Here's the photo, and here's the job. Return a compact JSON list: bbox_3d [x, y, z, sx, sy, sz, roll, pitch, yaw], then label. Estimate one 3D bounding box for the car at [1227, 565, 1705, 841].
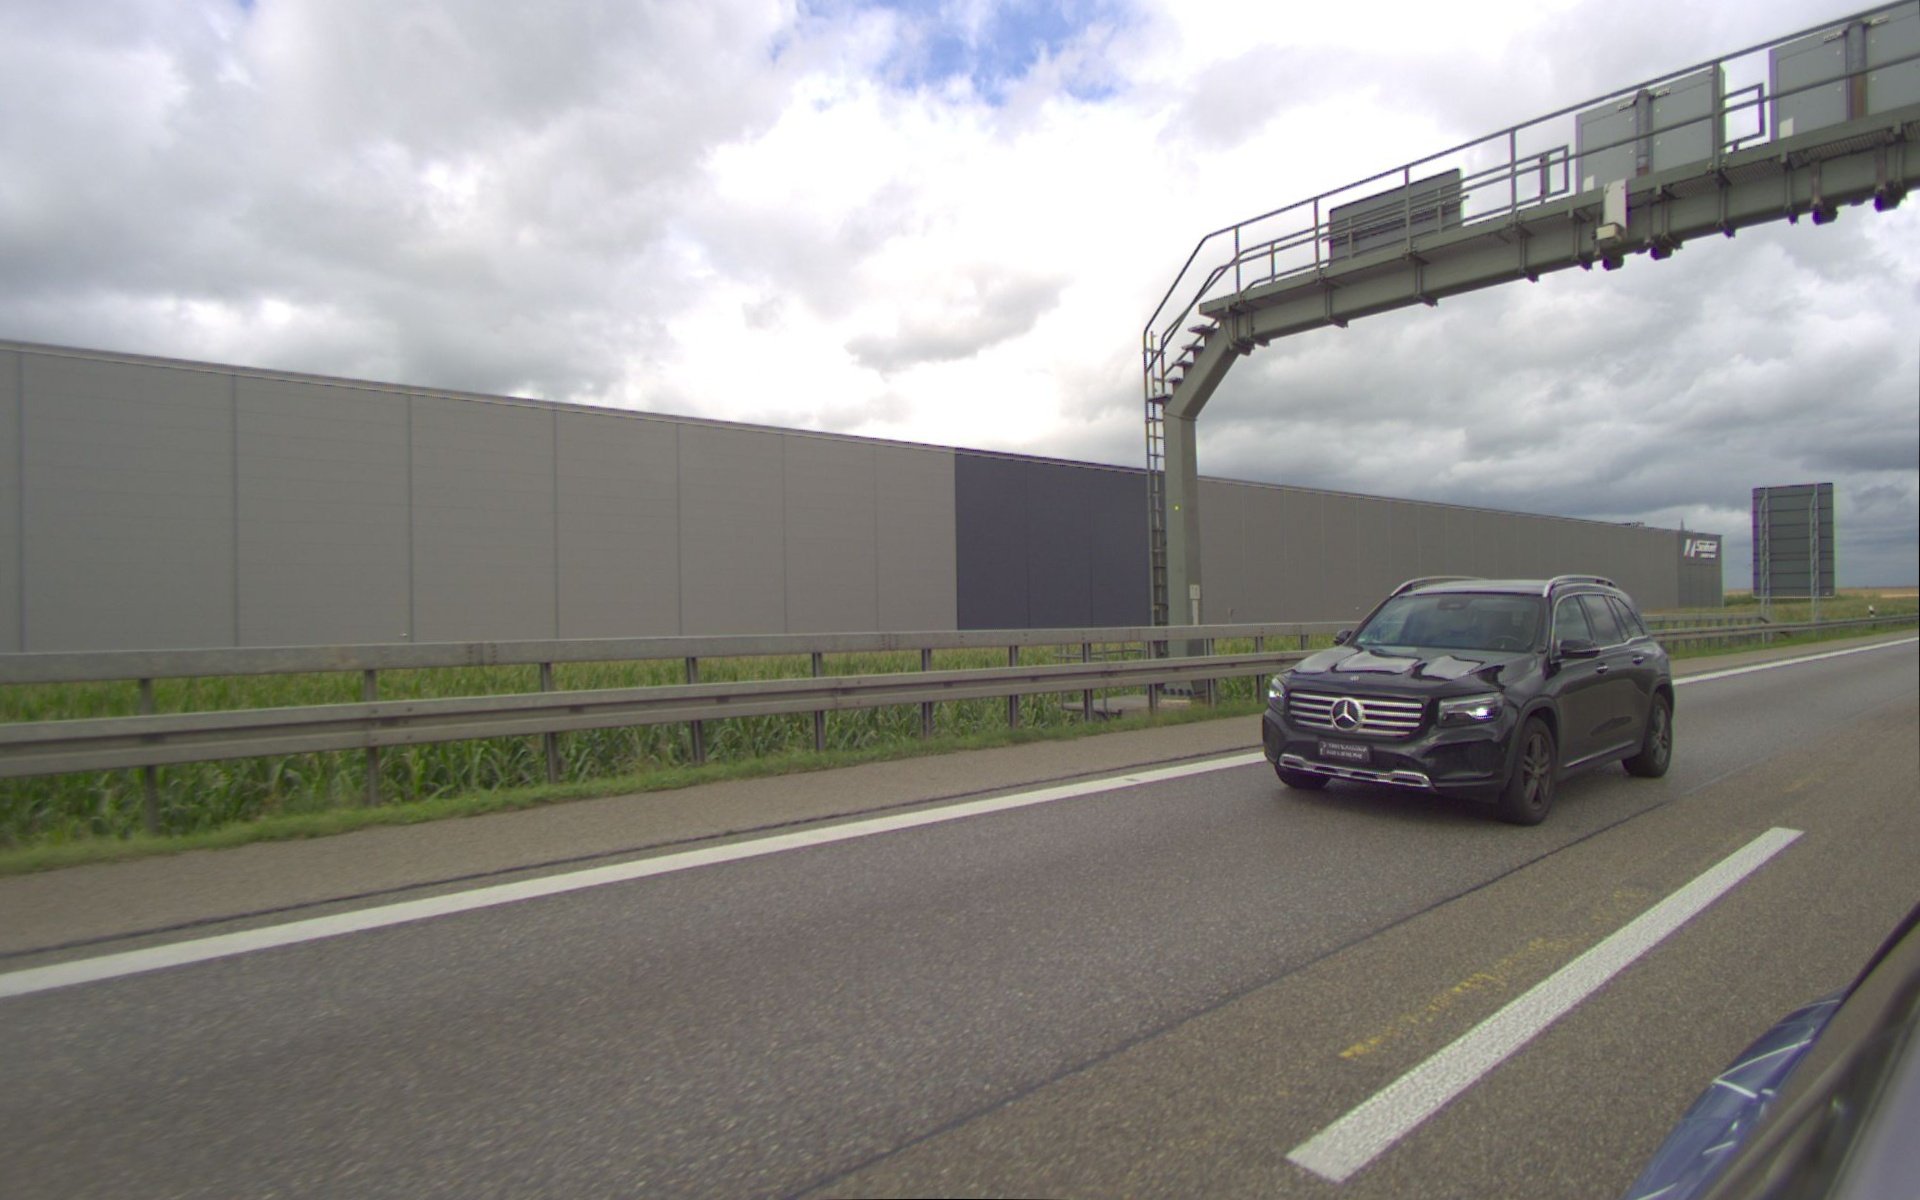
[{"bbox_3d":[4.181,0.567,8.053,4.282,1.629,1.837,-1,1,-39],"label":"car"}]
